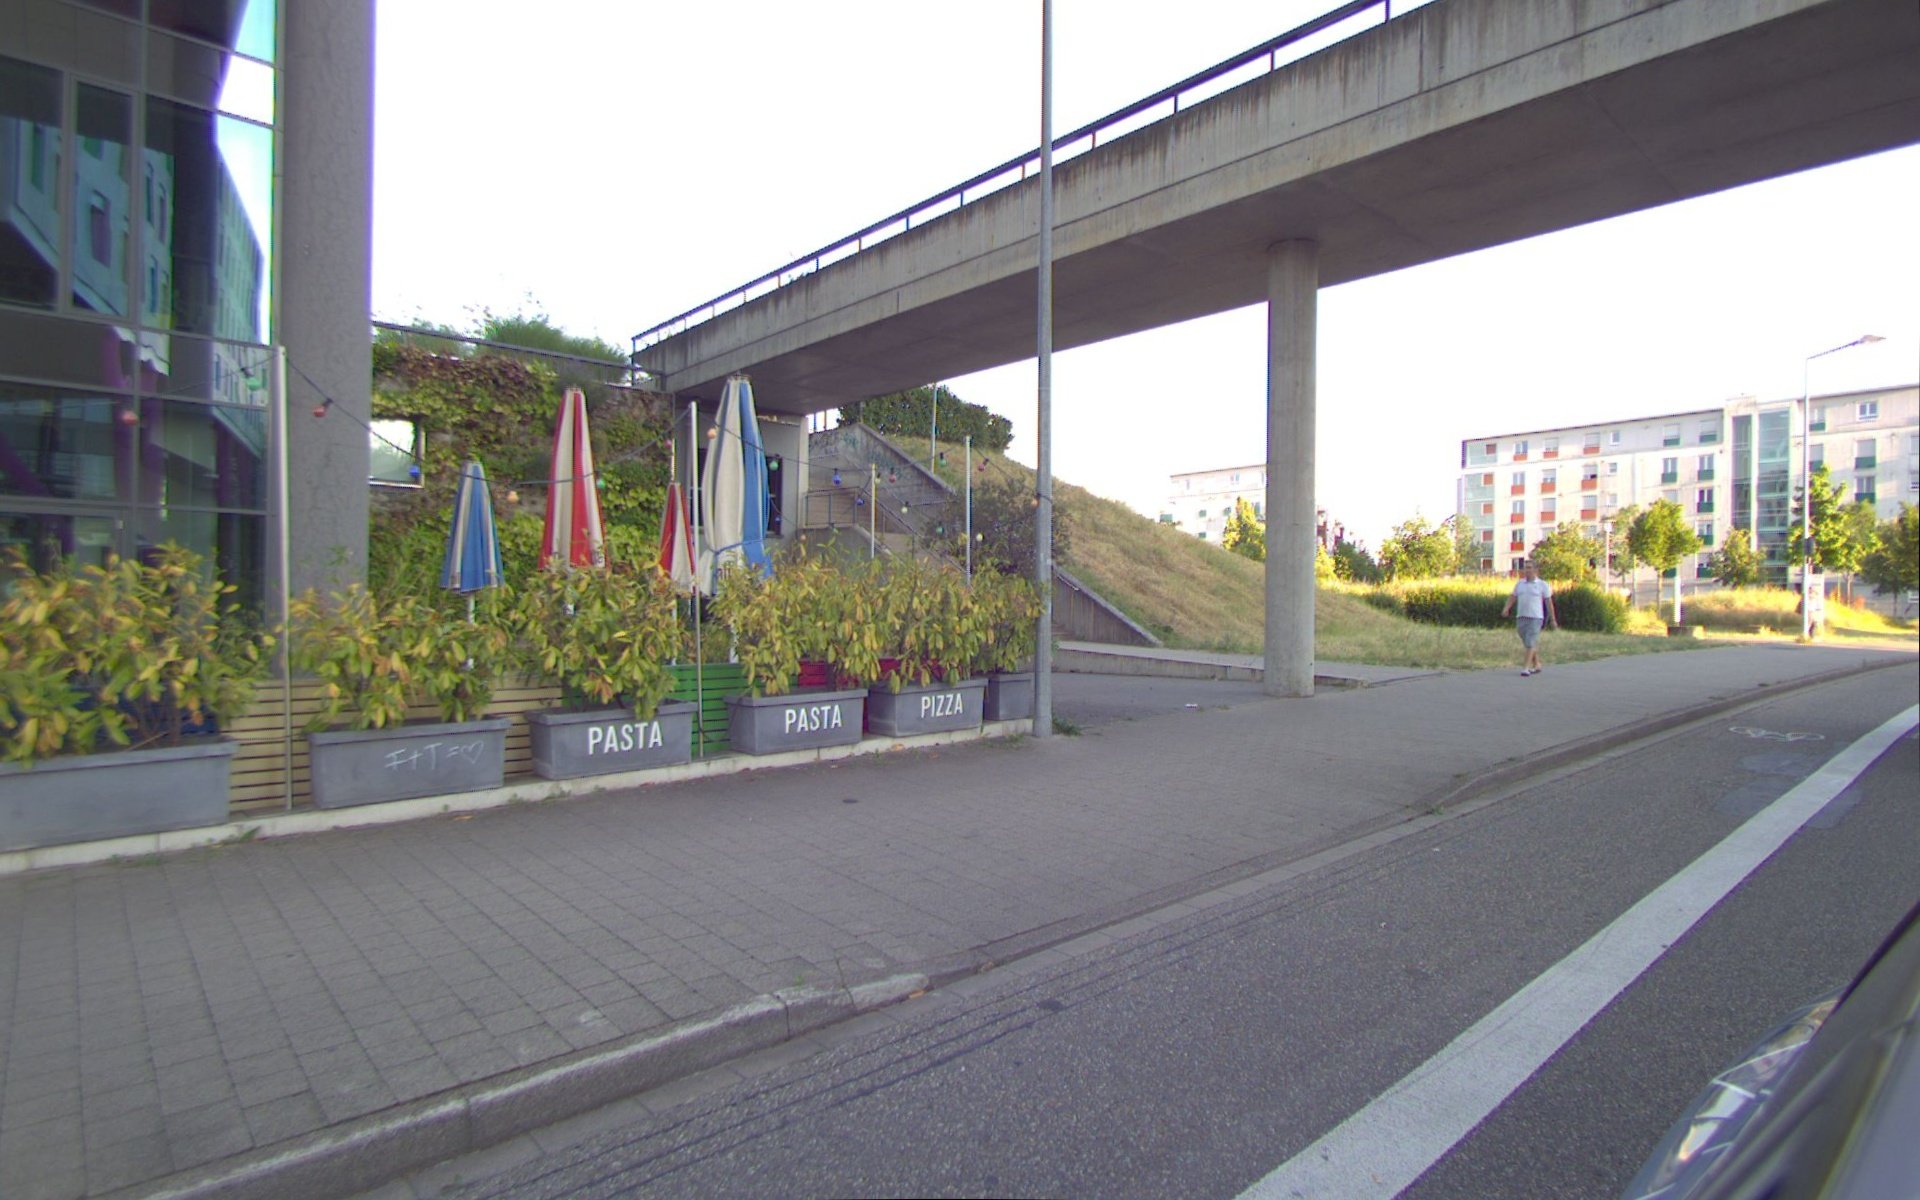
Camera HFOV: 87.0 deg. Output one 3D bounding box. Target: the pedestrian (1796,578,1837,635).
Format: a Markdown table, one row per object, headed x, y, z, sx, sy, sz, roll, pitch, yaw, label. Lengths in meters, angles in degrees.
| x | y | z | sx | sy | sz | roll | pitch | yaw | label |
| --- | --- | --- | --- | --- | --- | --- | --- | --- | --- |
| 25.841 | 0.192 | 30.539 | 0.844 | 1.650 | 0.737 | 1 | 2 | -40 | pedestrian |

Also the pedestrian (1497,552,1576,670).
| x | y | z | sx | sy | sz | roll | pitch | yaw | label |
| --- | --- | --- | --- | --- | --- | --- | --- | --- | --- |
| 8.919 | 0.157 | 15.654 | 0.890 | 1.745 | 0.737 | 1 | 2 | -40 | pedestrian |
